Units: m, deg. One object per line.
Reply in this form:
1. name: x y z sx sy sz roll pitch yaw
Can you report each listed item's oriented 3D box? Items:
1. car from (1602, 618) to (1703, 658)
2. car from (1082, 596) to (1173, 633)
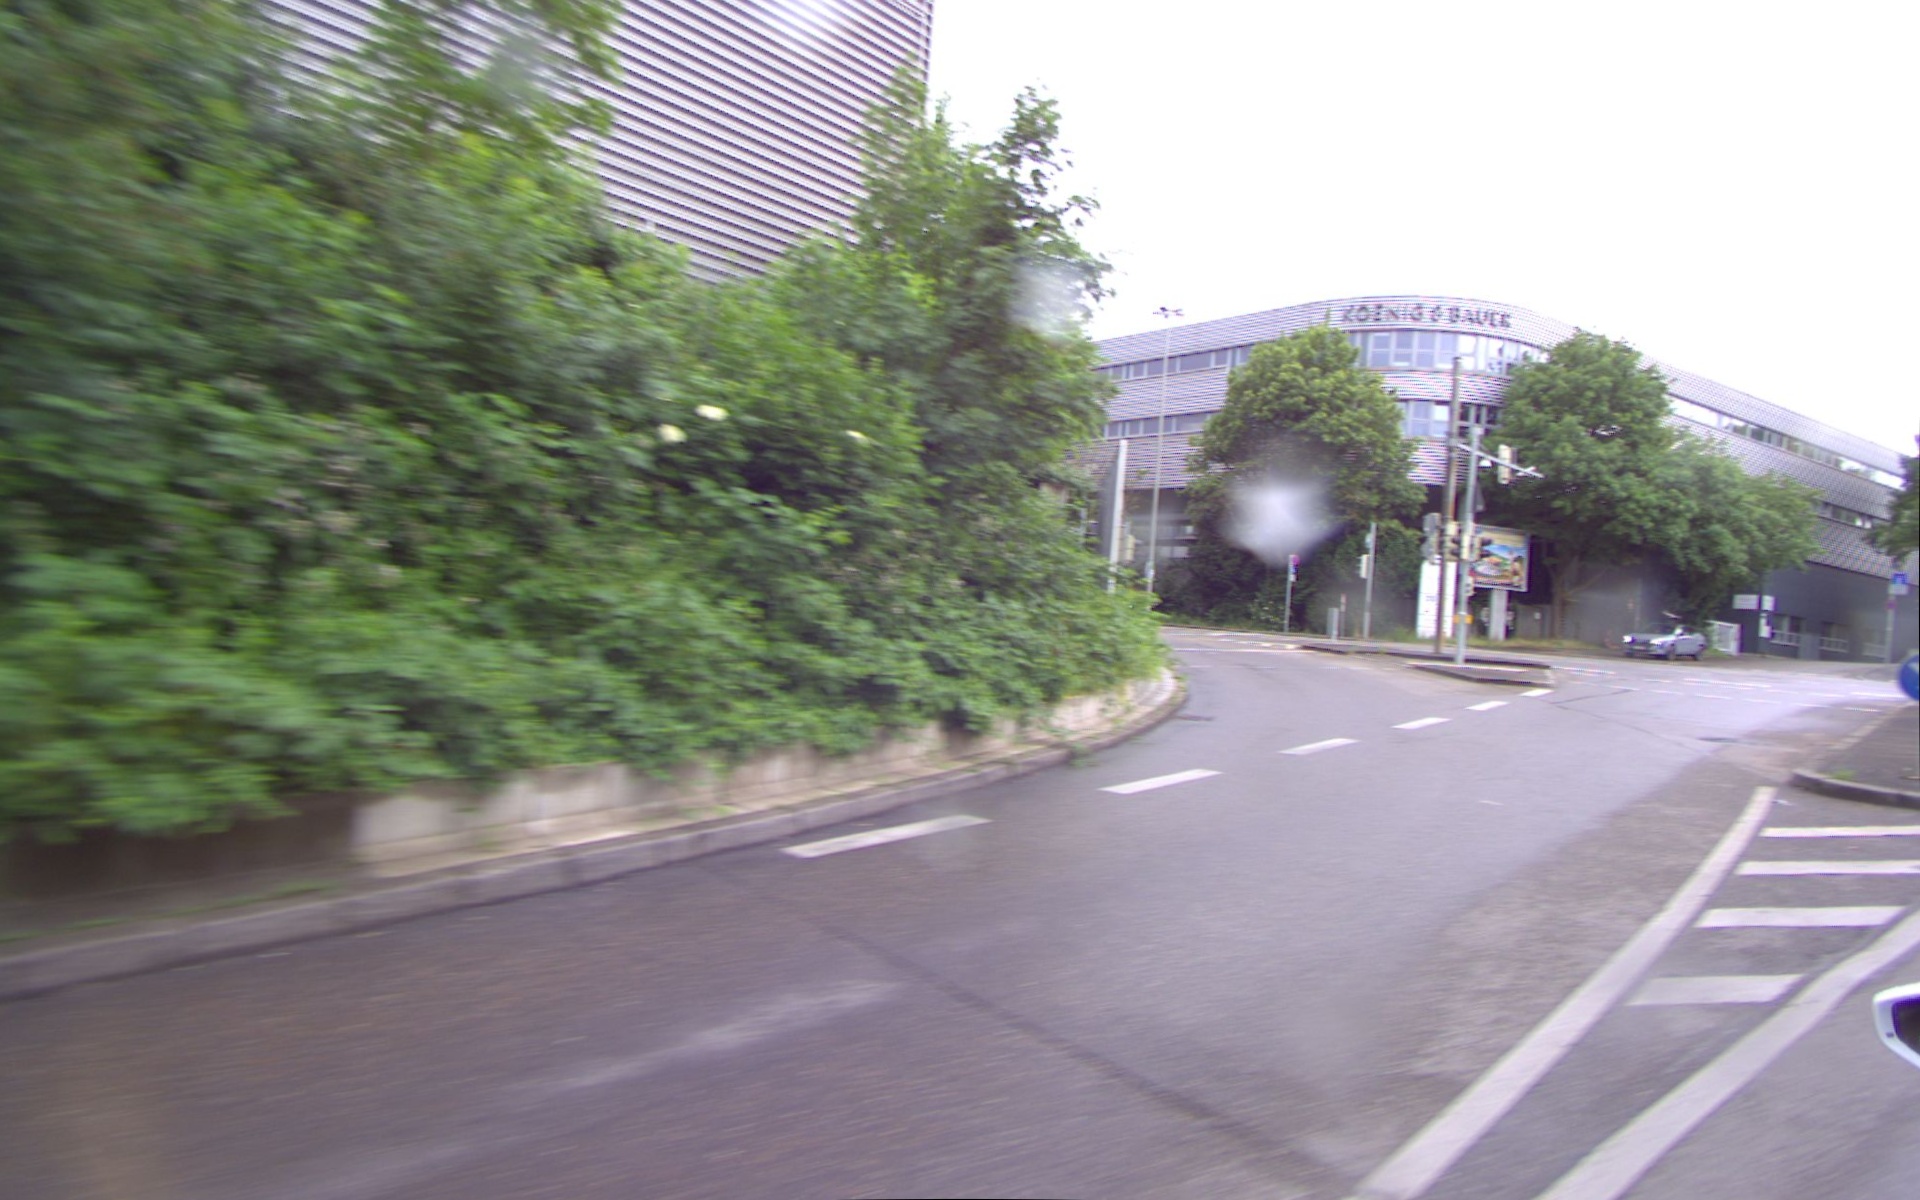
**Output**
1. car: 31.113 1.696 45.107 4.329 1.621 2.019 2 1 -29
2. car: 6.518 0.538 39.415 1.578 1.277 3.727 1 1 -29
